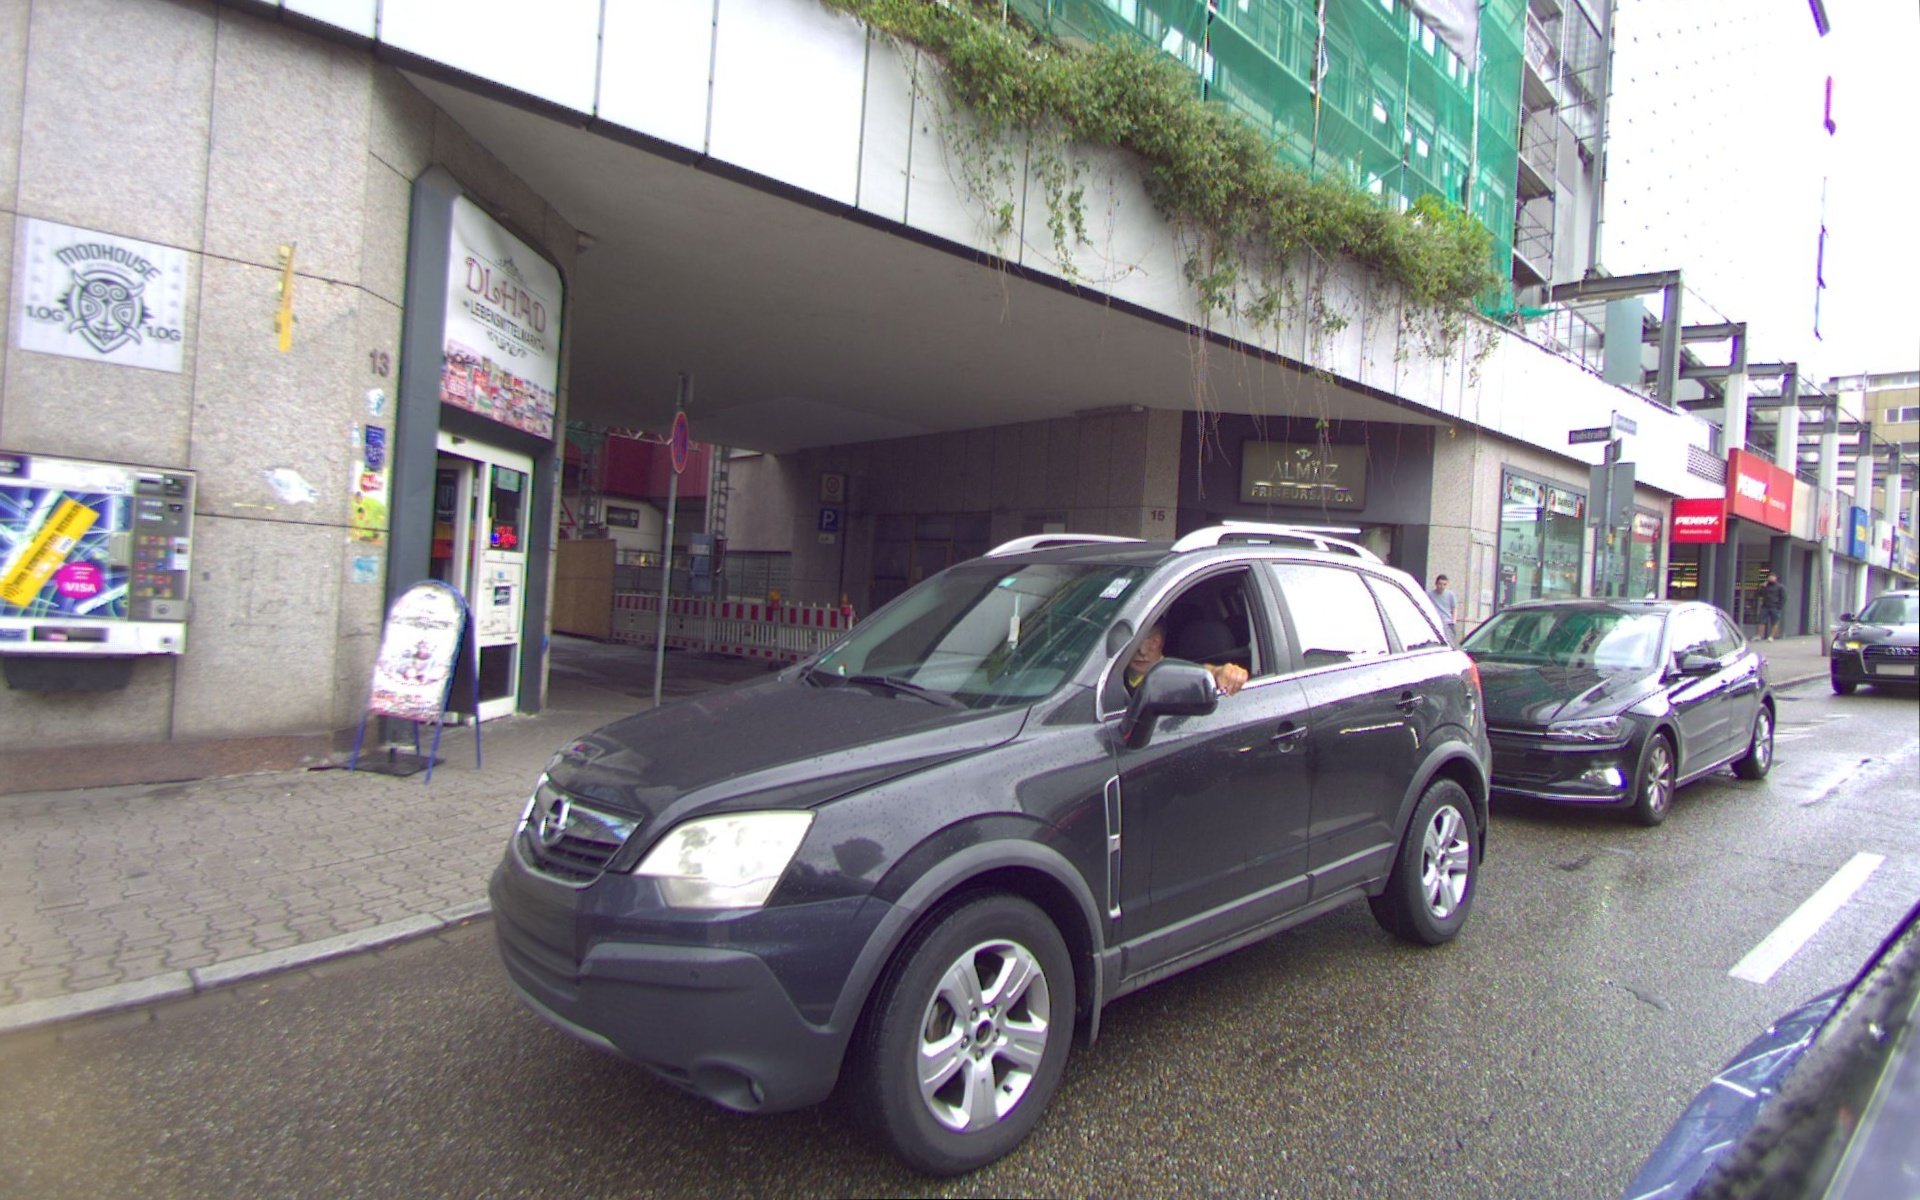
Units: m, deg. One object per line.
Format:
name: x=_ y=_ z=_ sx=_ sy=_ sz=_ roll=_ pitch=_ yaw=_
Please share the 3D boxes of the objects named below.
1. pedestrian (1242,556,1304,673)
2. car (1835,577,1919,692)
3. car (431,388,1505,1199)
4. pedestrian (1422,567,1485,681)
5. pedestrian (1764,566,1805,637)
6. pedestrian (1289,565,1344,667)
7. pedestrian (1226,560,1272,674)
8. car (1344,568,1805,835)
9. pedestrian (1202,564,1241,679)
pedestrian: x=5.074 y=0.208 z=16.423 sx=0.730 sy=1.838 sz=0.773 roll=2 pitch=2 yaw=3
car: x=15.144 y=0.469 z=15.600 sx=4.089 sy=1.628 sz=1.841 roll=-1 pitch=1 yaw=-39
car: x=0.403 y=0.498 z=3.979 sx=4.091 sy=1.788 sz=1.763 roll=1 pitch=0 yaw=-41
pedestrian: x=7.434 y=0.344 z=15.244 sx=0.721 sy=1.663 sz=0.637 roll=-1 pitch=1 yaw=-44
pedestrian: x=20.430 y=0.027 z=25.091 sx=0.571 sy=1.699 sz=0.508 roll=1 pitch=2 yaw=15
pedestrian: x=5.931 y=0.253 z=16.864 sx=0.664 sy=1.647 sz=0.579 roll=1 pitch=2 yaw=2
pedestrian: x=4.215 y=0.237 z=14.773 sx=0.630 sy=1.615 sz=0.574 roll=0 pitch=1 yaw=17
car: x=4.853 y=0.594 z=7.763 sx=4.088 sy=1.523 sz=1.759 roll=1 pitch=0 yaw=-39
pedestrian: x=4.030 y=0.321 z=15.597 sx=0.474 sy=1.729 sz=0.467 roll=0 pitch=0 yaw=1
